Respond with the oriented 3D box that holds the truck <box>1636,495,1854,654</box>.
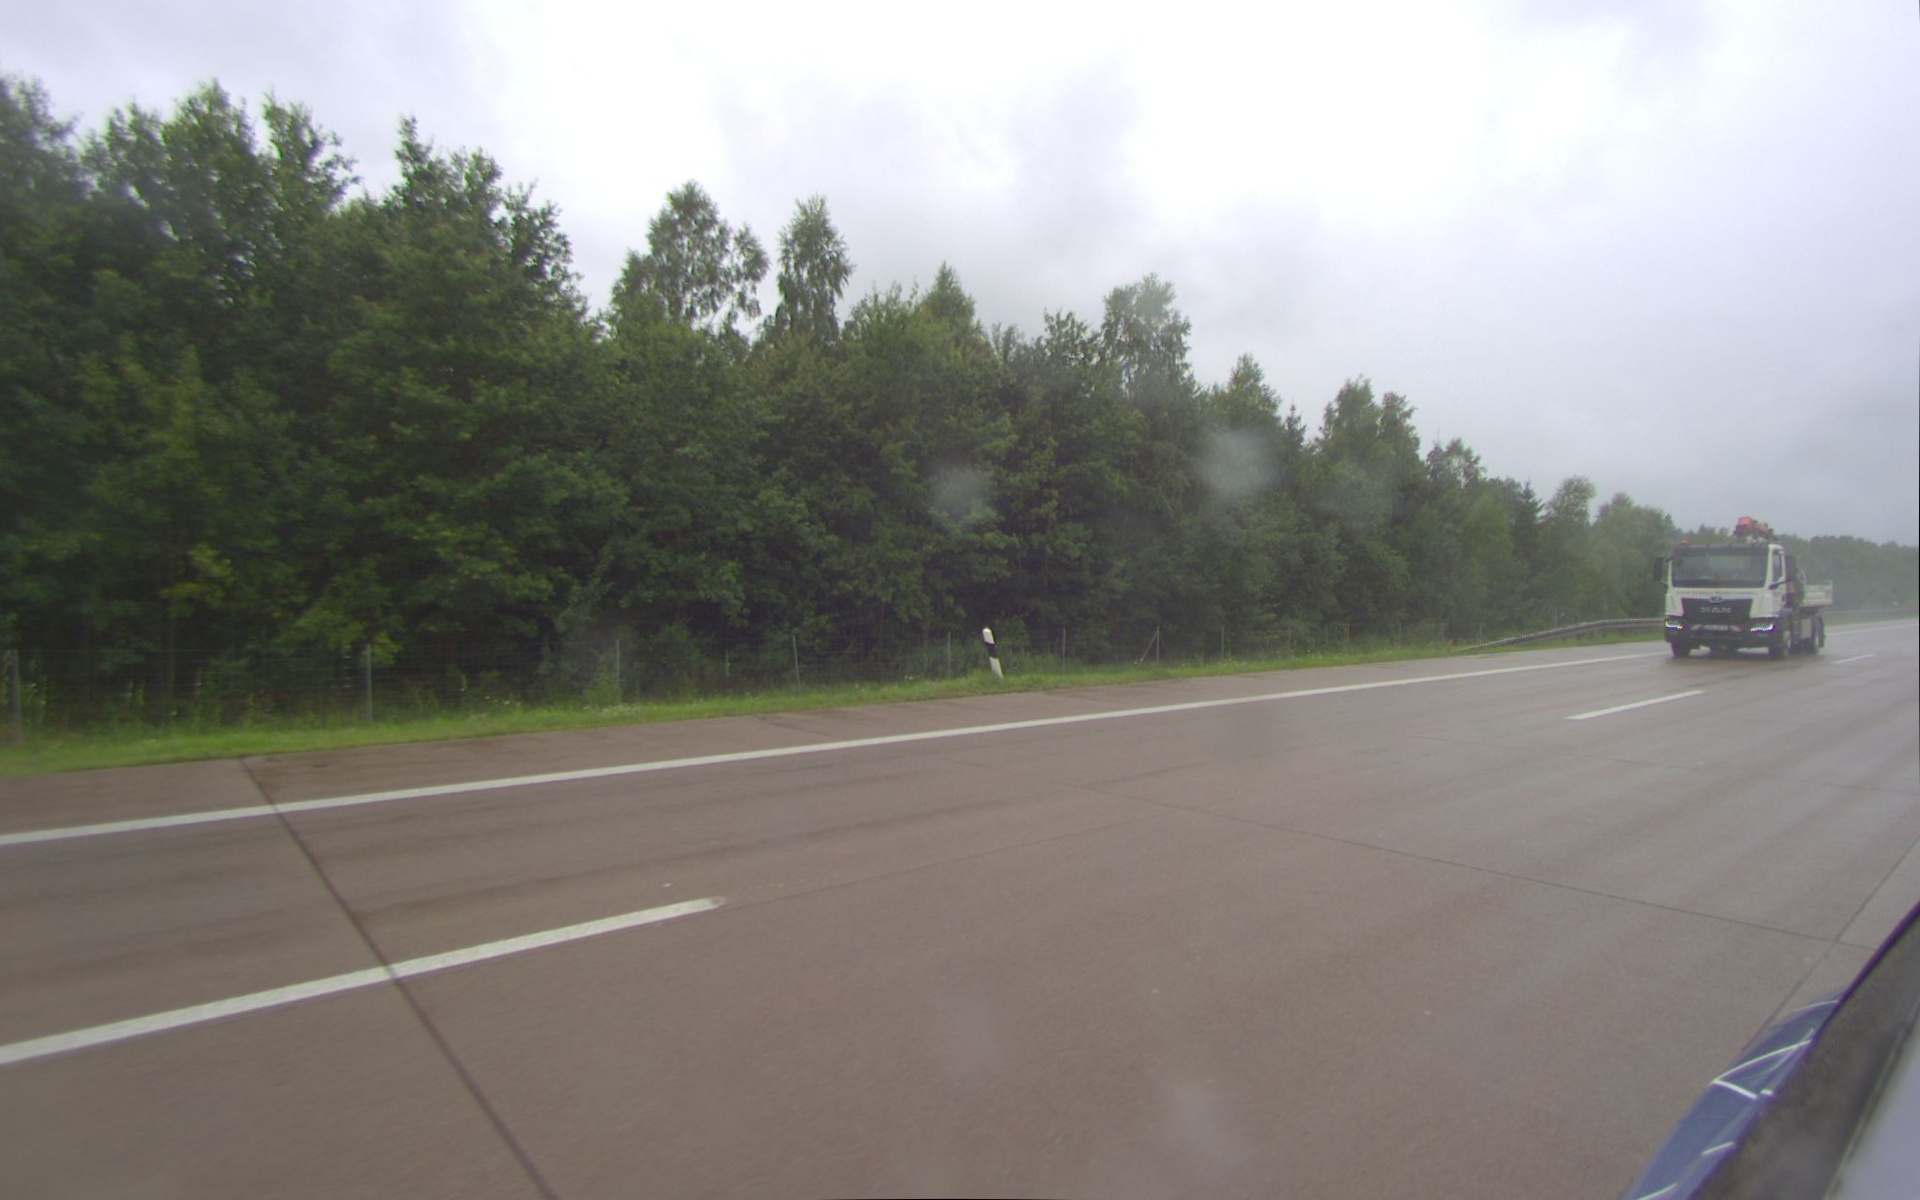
[{"bbox_3d":[21.675,-0.632,27.765,7.814,3.777,3.240,0,0,-41],"label":"truck"}]
